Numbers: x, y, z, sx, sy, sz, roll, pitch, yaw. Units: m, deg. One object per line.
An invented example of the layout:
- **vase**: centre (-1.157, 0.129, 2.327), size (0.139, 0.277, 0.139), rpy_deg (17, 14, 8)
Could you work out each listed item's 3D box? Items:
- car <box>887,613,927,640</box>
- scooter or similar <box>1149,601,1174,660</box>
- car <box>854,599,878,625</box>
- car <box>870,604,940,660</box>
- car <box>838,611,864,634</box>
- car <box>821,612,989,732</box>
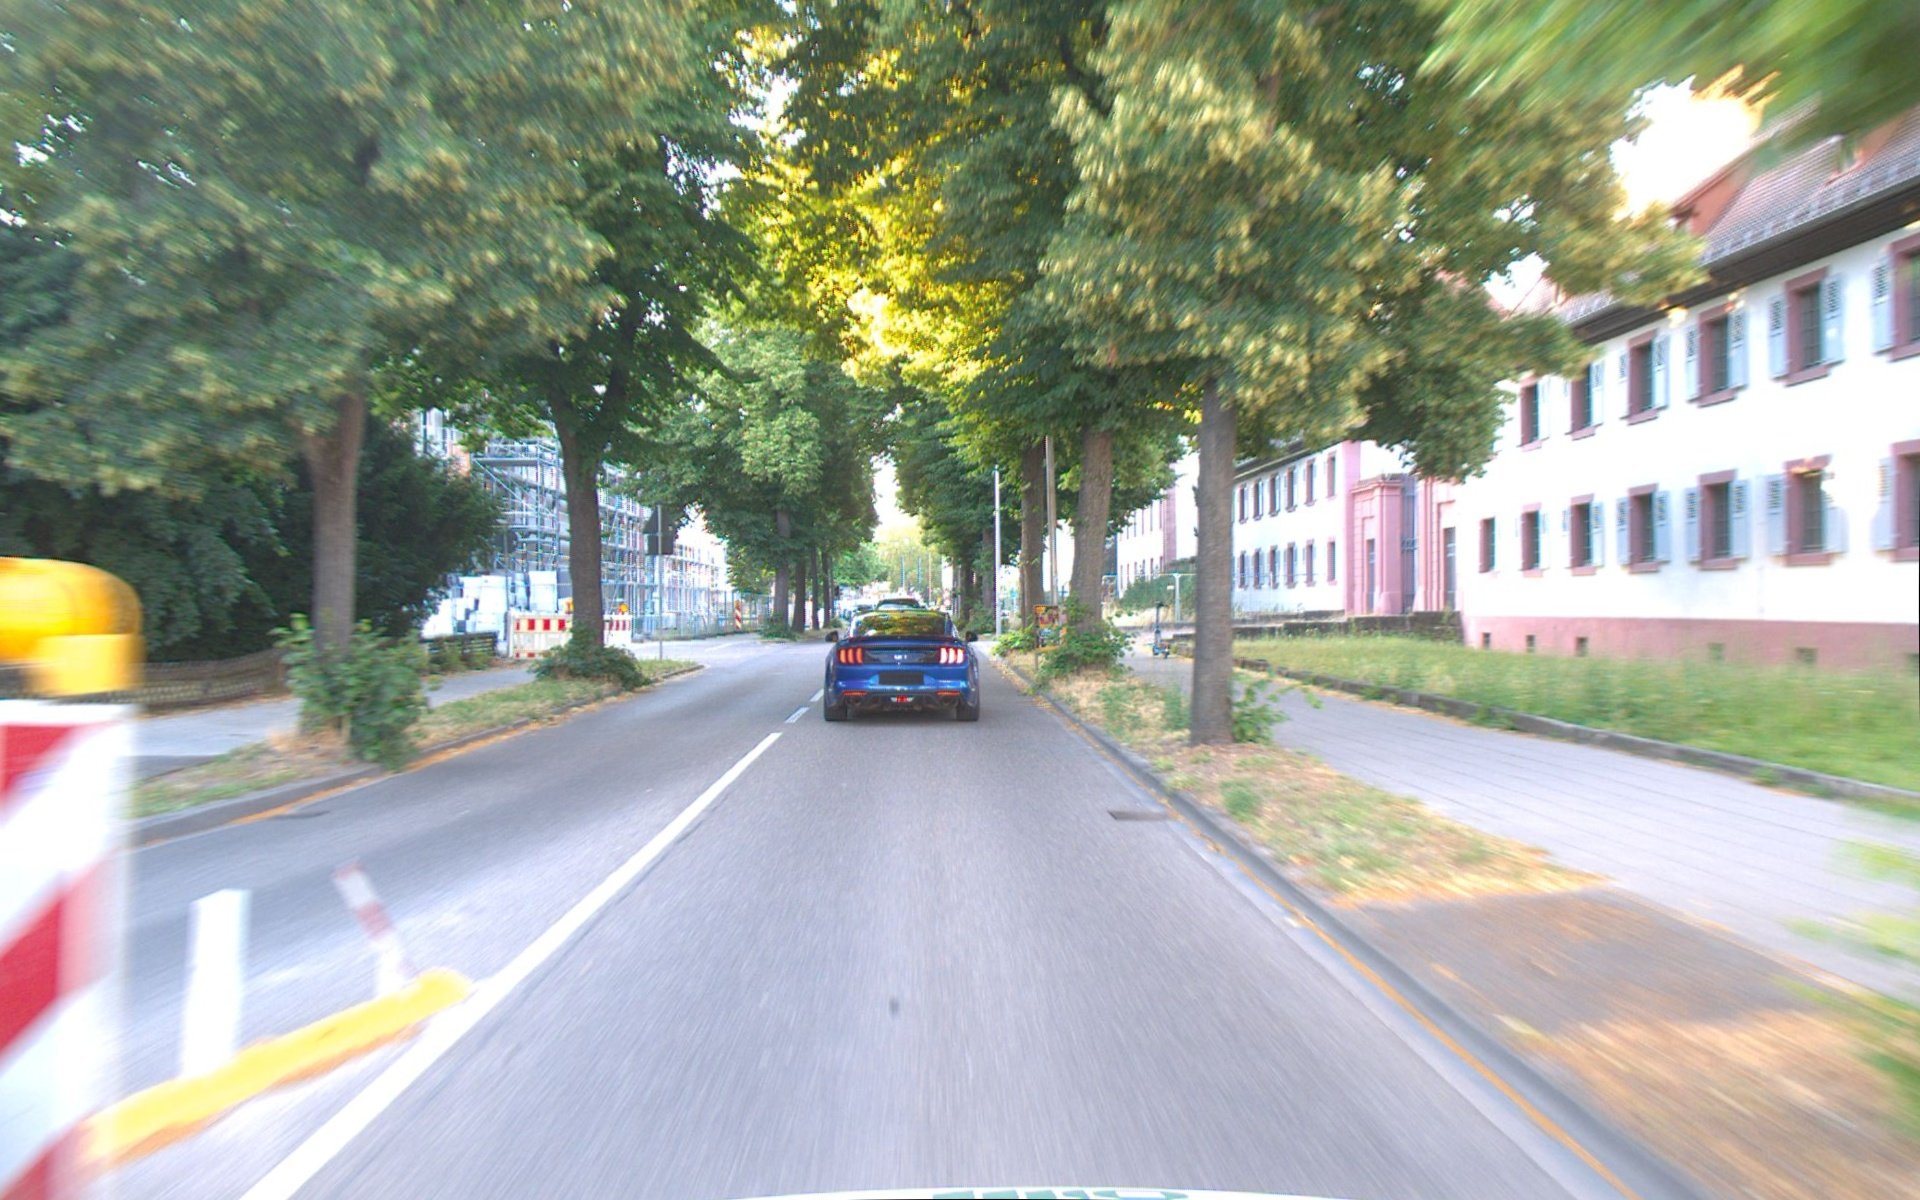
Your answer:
- **car**: centre (-2.767, 1.383, 87.317), size (1.907, 1.350, 4.000), rpy_deg (1, -1, 0)
- **scooter or similar**: centre (4.495, 0.677, 36.947), size (0.234, 1.298, 1.265), rpy_deg (-1, -1, -6)
- **car**: centre (-10.278, 1.330, 180.544), size (2.442, 2.744, 5.827), rpy_deg (-1, -1, -2)
- **car**: centre (-1.592, 0.937, 49.035), size (1.907, 1.554, 4.000), rpy_deg (1, -1, 0)
- **car**: centre (-11.156, 2.263, 169.201), size (2.288, 2.236, 5.308), rpy_deg (-1, 0, 0)
- **car**: centre (-0.692, 0.849, 21.043), size (1.907, 1.350, 3.998), rpy_deg (1, -1, -2)
